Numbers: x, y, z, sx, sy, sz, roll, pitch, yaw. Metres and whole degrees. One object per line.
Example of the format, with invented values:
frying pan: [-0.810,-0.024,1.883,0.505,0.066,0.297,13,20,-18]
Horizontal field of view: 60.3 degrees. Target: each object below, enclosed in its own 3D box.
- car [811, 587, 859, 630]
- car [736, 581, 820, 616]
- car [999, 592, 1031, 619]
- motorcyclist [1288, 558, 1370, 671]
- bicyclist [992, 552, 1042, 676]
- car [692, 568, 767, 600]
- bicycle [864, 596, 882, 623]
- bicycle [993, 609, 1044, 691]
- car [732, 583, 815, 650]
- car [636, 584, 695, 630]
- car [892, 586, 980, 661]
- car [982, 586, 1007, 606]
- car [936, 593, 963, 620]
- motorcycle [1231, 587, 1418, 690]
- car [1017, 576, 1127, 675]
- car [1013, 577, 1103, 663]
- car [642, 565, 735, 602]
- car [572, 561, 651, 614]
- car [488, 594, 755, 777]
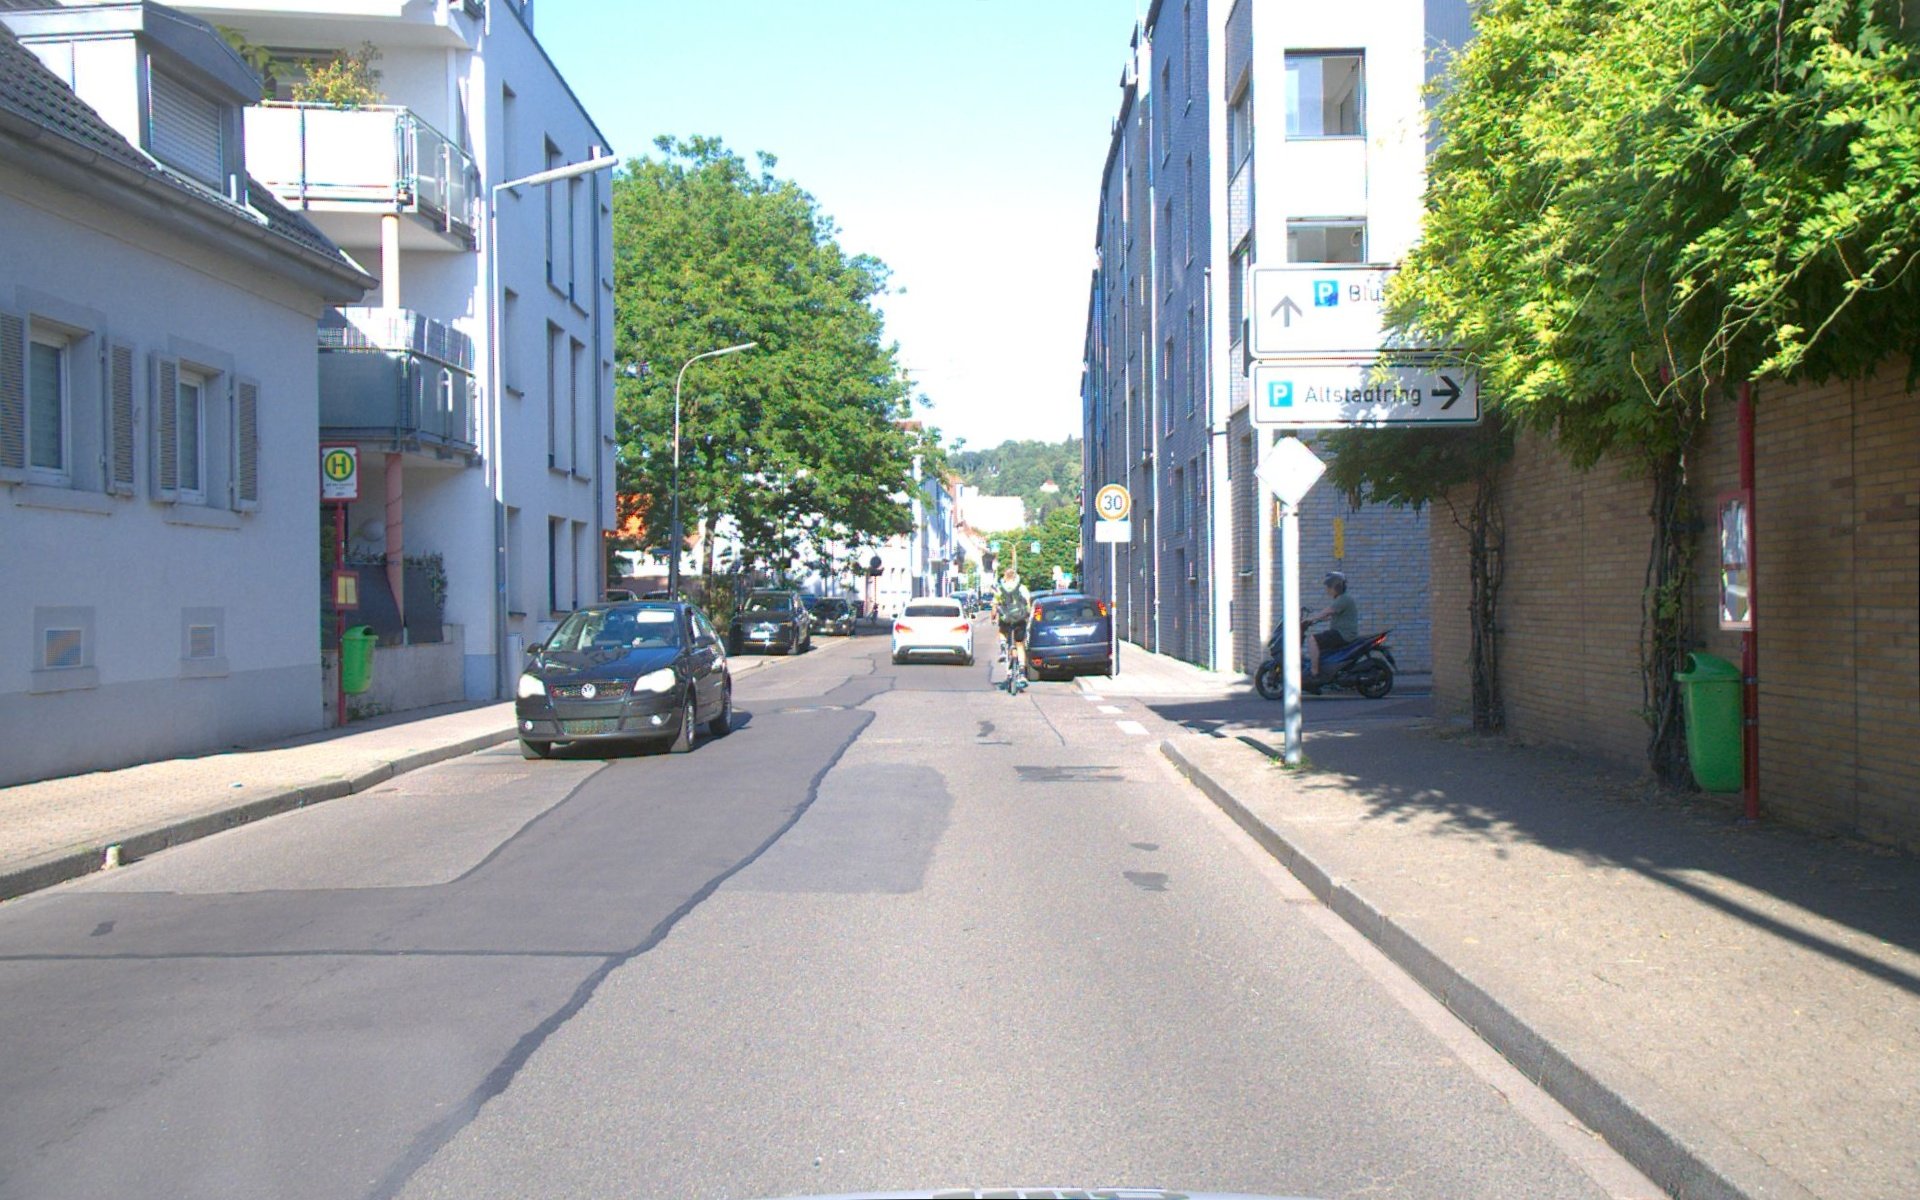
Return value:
car: [-4.994,0.323,66.503,1.670,1.603,3.913,-1,1,-1]
car: [-8.845,-0.086,80.676,3.820,1.603,1.710,-1,1,2]
car: [3.874,0.367,116.829,1.816,1.822,4.605,-1,1,-3]
motorcyclist: [5.033,0.198,22.552,0.859,1.498,0.894,-1,0,28]
bicyclist: [0.855,0.211,24.943,0.684,1.821,1.041,-1,0,0]
car: [-12.140,-0.862,87.105,3.828,1.603,1.707,-1,1,-8]
bicycle: [-4.291,0.462,81.770,0.818,1.239,2.841,-1,1,-1]
bicycle: [0.866,0.721,24.971,0.684,1.150,2.403,-1,0,0]
car: [-5.376,0.427,48.207,1.815,1.822,4.608,-1,1,0]
car: [-11.570,0.231,65.211,1.754,1.719,3.963,1,1,-2]
car: [-0.564,0.487,36.451,1.805,1.517,4.142,-1,0,-2]
car: [3.157,-0.402,151.529,1.904,1.614,4.624,-4,0,4]
car: [-0.706,0.386,105.325,1.630,1.603,3.913,-1,1,-1]
motorcycle: [4.972,0.530,22.586,2.290,1.303,0.894,-3,-1,29]
car: [2.041,0.436,31.166,1.597,1.614,4.068,-4,0,-1]
car: [2.064,0.384,35.695,1.630,1.732,3.913,-1,1,-1]
car: [-12.319,-0.739,75.129,3.819,1.603,1.711,-1,1,4]
car: [-11.209,-0.430,53.472,1.821,1.614,4.618,0,1,-4]
car: [-3.287,0.758,16.891,1.805,1.517,4.144,-4,0,0]
